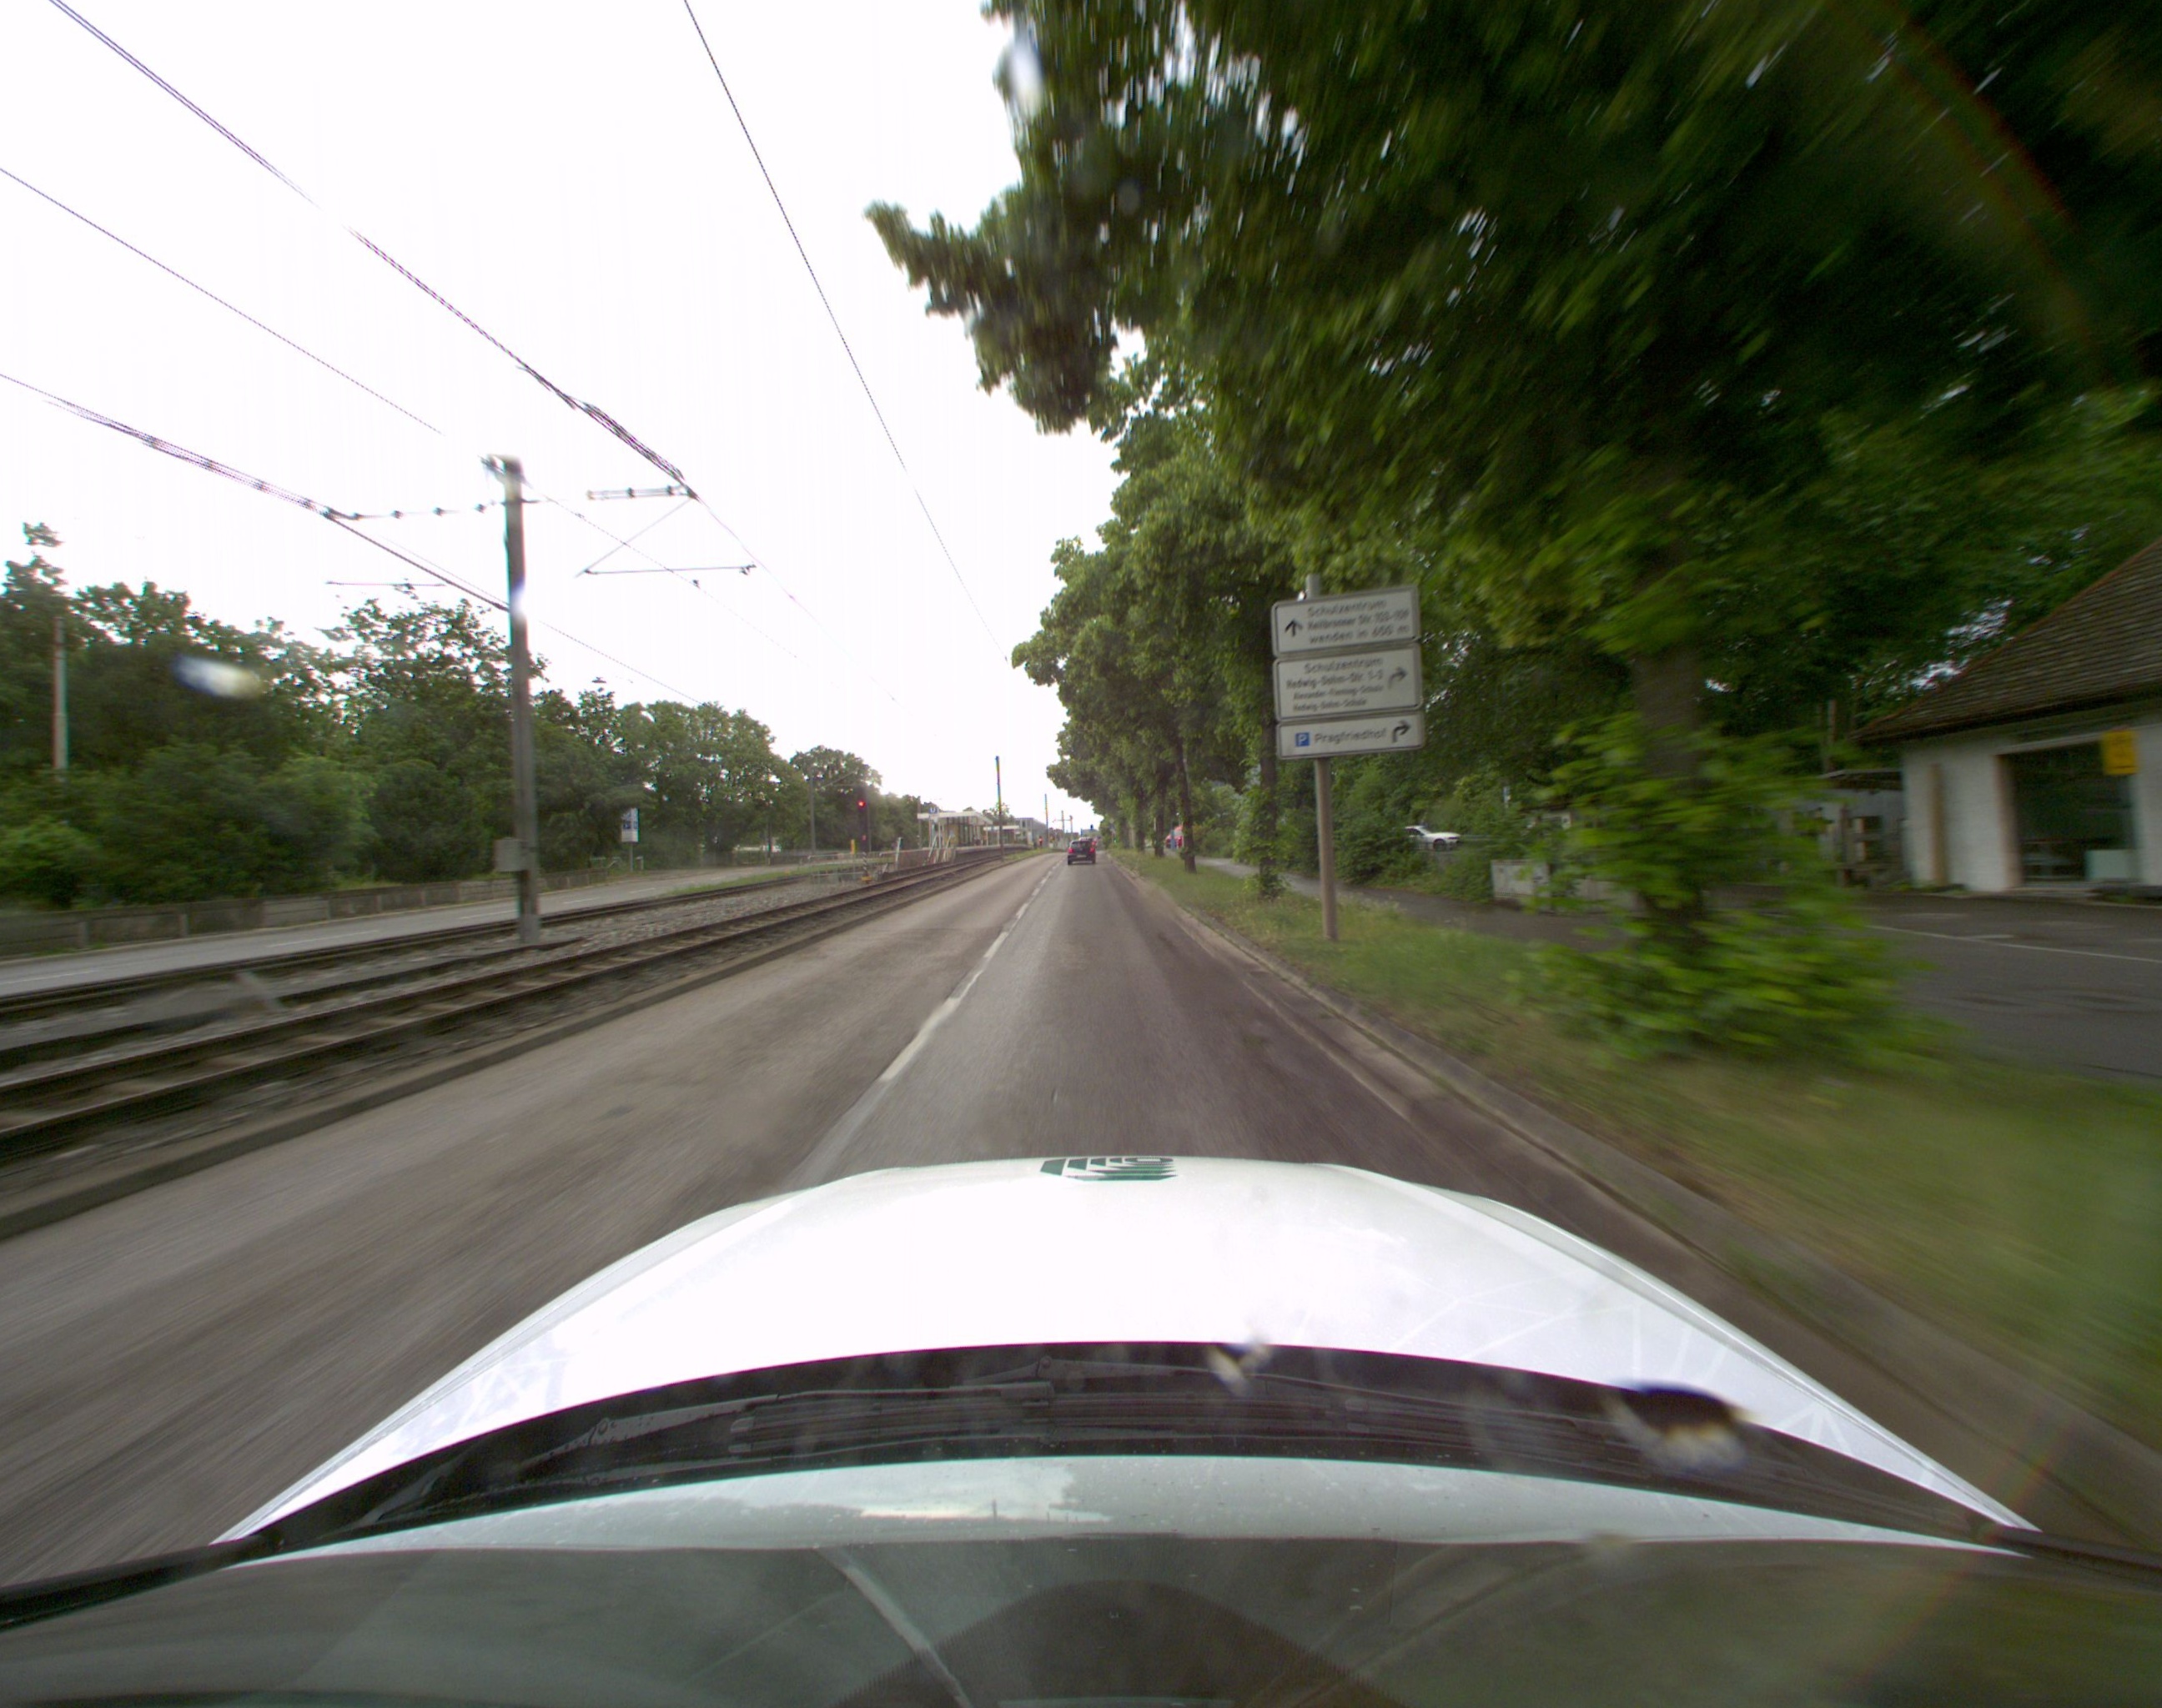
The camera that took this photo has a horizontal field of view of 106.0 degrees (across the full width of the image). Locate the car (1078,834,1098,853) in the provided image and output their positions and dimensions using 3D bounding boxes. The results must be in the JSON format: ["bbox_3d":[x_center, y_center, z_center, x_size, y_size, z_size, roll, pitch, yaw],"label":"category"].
[{"bbox_3d":[0.614,-0.929,71.227,1.681,1.517,4.001,-3,1,1],"label":"car"}]

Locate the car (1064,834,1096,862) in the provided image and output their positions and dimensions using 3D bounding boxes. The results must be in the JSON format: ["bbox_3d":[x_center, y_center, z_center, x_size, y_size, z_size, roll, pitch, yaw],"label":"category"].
[{"bbox_3d":[-0.024,-0.389,48.672,1.721,1.540,4.001,-3,1,1],"label":"car"}]

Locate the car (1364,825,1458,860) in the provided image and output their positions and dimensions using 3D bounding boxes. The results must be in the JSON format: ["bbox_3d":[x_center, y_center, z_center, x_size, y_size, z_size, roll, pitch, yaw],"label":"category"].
[{"bbox_3d":[18.029,-0.646,44.625,1.956,1.834,4.416,-1,2,-40],"label":"car"}]

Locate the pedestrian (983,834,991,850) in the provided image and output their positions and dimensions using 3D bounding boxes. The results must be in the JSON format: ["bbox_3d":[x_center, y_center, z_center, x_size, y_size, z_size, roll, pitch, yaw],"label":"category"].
[{"bbox_3d":[-11.857,-1.499,102.713,0.745,1.909,0.836,-1,2,-20],"label":"pedestrian"}]

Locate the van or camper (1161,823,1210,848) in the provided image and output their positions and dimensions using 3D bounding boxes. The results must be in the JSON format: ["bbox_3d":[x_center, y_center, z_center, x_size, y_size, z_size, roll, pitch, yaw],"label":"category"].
[{"bbox_3d":[10.624,-1.865,82.589,2.016,2.406,5.424,2,1,43],"label":"van or camper"}]

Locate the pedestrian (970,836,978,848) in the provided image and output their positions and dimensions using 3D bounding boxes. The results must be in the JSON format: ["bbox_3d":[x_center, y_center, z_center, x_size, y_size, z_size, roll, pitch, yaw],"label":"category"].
[{"bbox_3d":[-11.087,-1.201,84.353,0.708,1.225,0.619,-2,0,1],"label":"pedestrian"}]
